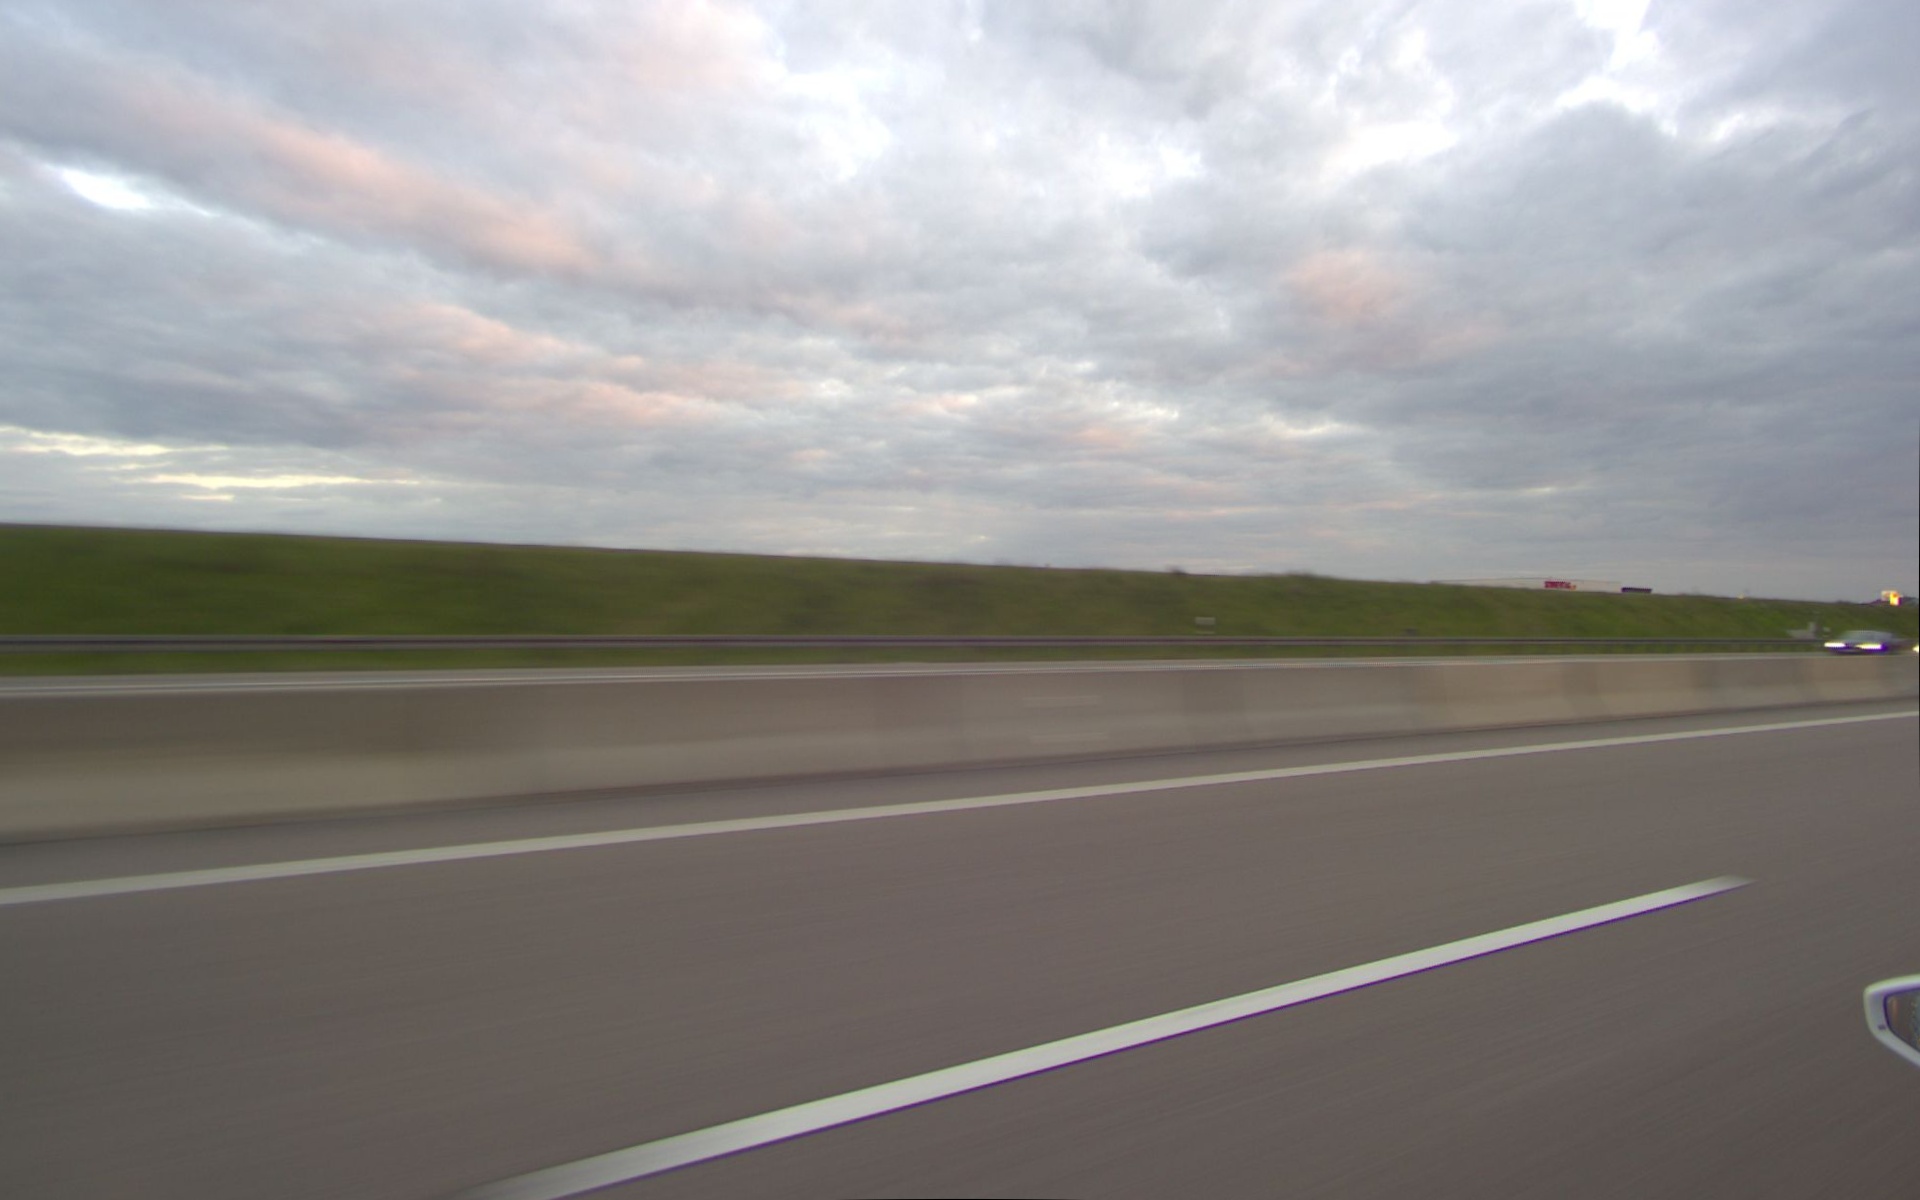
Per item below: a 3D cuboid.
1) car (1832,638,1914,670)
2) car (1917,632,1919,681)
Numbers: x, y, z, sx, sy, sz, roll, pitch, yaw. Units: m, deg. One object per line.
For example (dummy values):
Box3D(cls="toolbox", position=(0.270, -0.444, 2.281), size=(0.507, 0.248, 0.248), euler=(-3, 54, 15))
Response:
Box3D(cls="car", position=(43.245, 2.544, 47.555), size=(4.292, 1.411, 1.730), euler=(1, -1, -31))
Box3D(cls="car", position=(37.134, 2.093, 36.626), size=(5.123, 1.758, 1.984), euler=(1, -1, -31))
